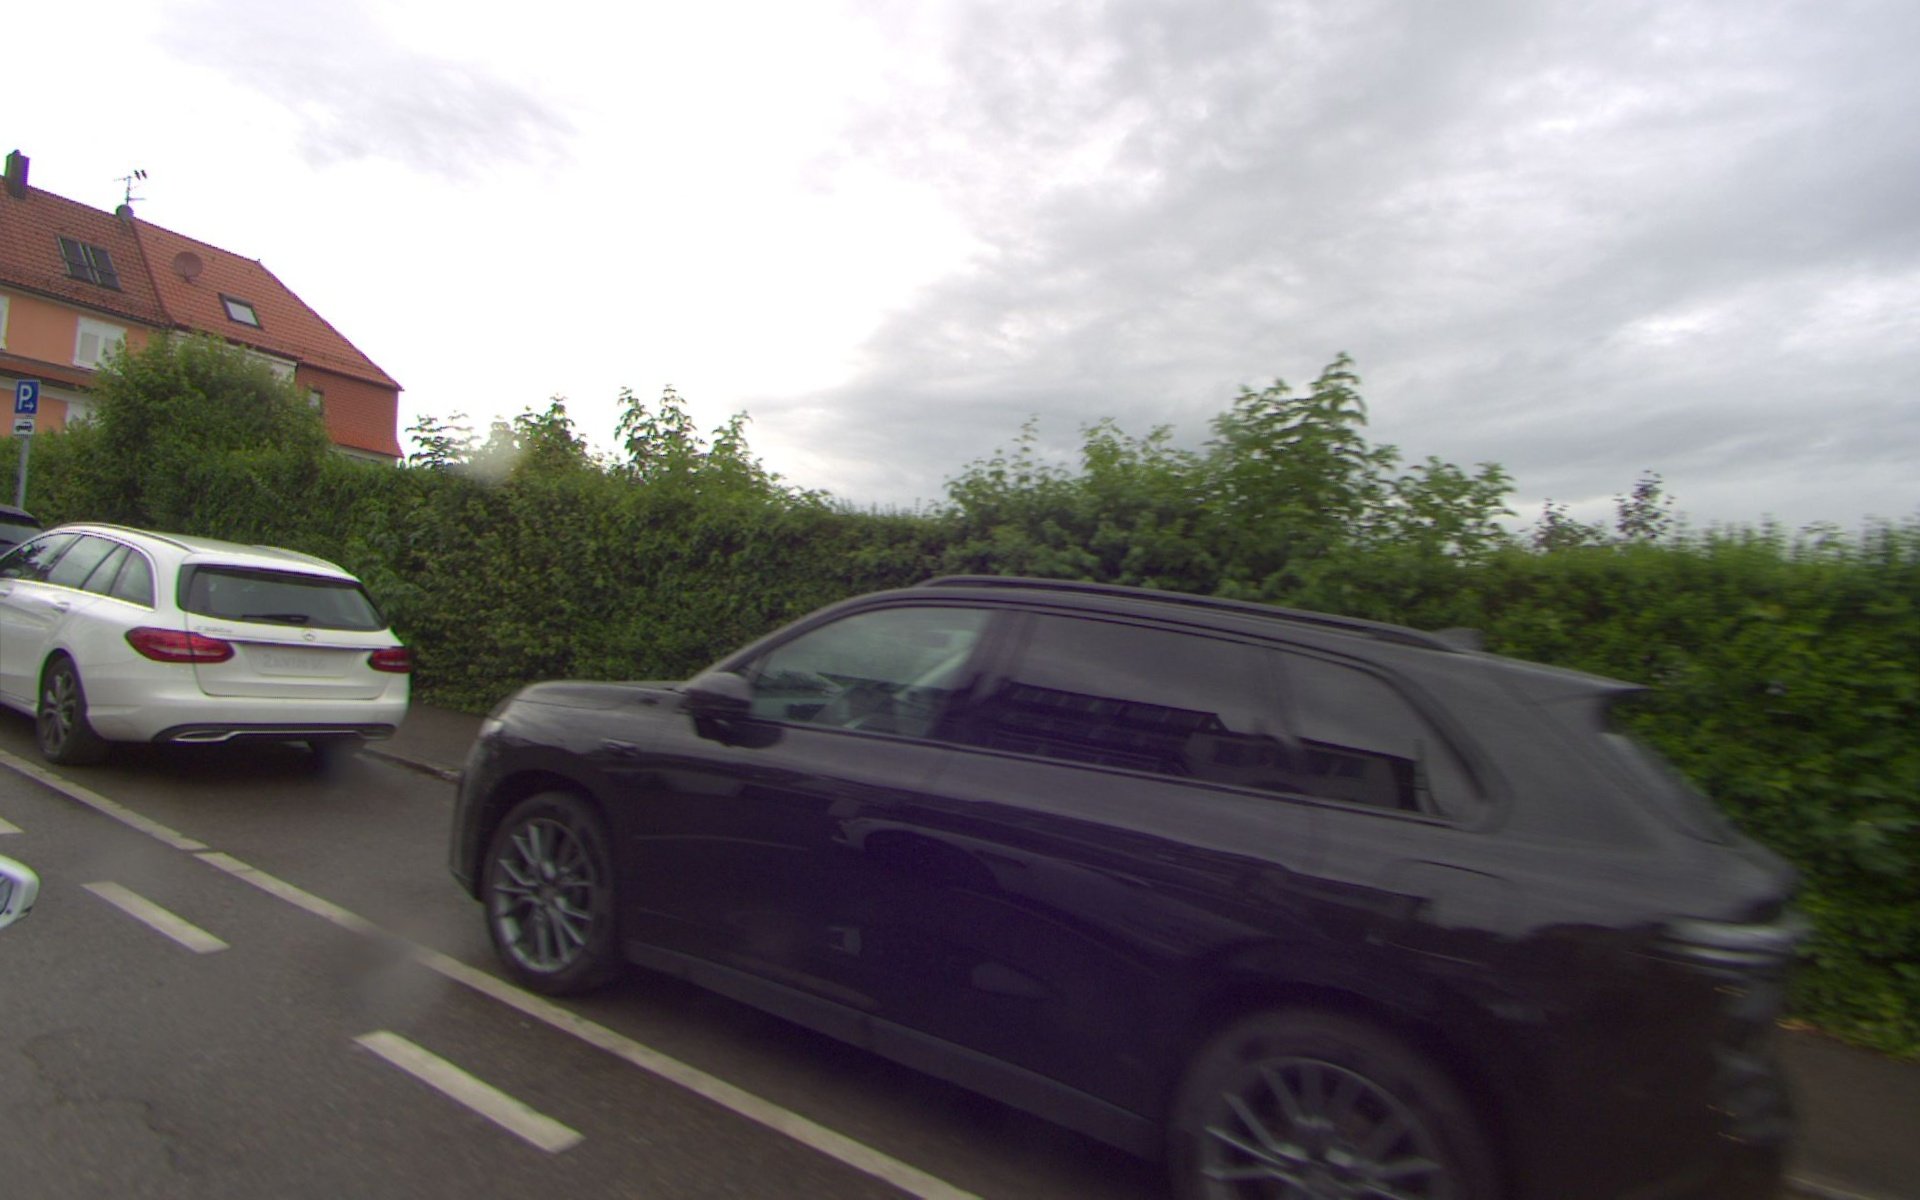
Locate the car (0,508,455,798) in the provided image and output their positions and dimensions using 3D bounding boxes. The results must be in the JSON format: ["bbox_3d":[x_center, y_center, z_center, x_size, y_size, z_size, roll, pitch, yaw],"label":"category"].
[{"bbox_3d":[-5.934,0.213,7.332,4.530,1.421,1.717,7,-2,30],"label":"car"}]

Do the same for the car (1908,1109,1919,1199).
[{"bbox_3d":[4.428,1.397,1.088,4.555,1.457,1.806,8,-1,18],"label":"car"}]

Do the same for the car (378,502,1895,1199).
[{"bbox_3d":[0.146,0.772,3.789,4.470,1.681,1.892,7,-2,29],"label":"car"}]

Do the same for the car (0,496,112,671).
[{"bbox_3d":[-10.526,-0.370,10.026,4.135,1.547,1.758,6,-2,30],"label":"car"}]
